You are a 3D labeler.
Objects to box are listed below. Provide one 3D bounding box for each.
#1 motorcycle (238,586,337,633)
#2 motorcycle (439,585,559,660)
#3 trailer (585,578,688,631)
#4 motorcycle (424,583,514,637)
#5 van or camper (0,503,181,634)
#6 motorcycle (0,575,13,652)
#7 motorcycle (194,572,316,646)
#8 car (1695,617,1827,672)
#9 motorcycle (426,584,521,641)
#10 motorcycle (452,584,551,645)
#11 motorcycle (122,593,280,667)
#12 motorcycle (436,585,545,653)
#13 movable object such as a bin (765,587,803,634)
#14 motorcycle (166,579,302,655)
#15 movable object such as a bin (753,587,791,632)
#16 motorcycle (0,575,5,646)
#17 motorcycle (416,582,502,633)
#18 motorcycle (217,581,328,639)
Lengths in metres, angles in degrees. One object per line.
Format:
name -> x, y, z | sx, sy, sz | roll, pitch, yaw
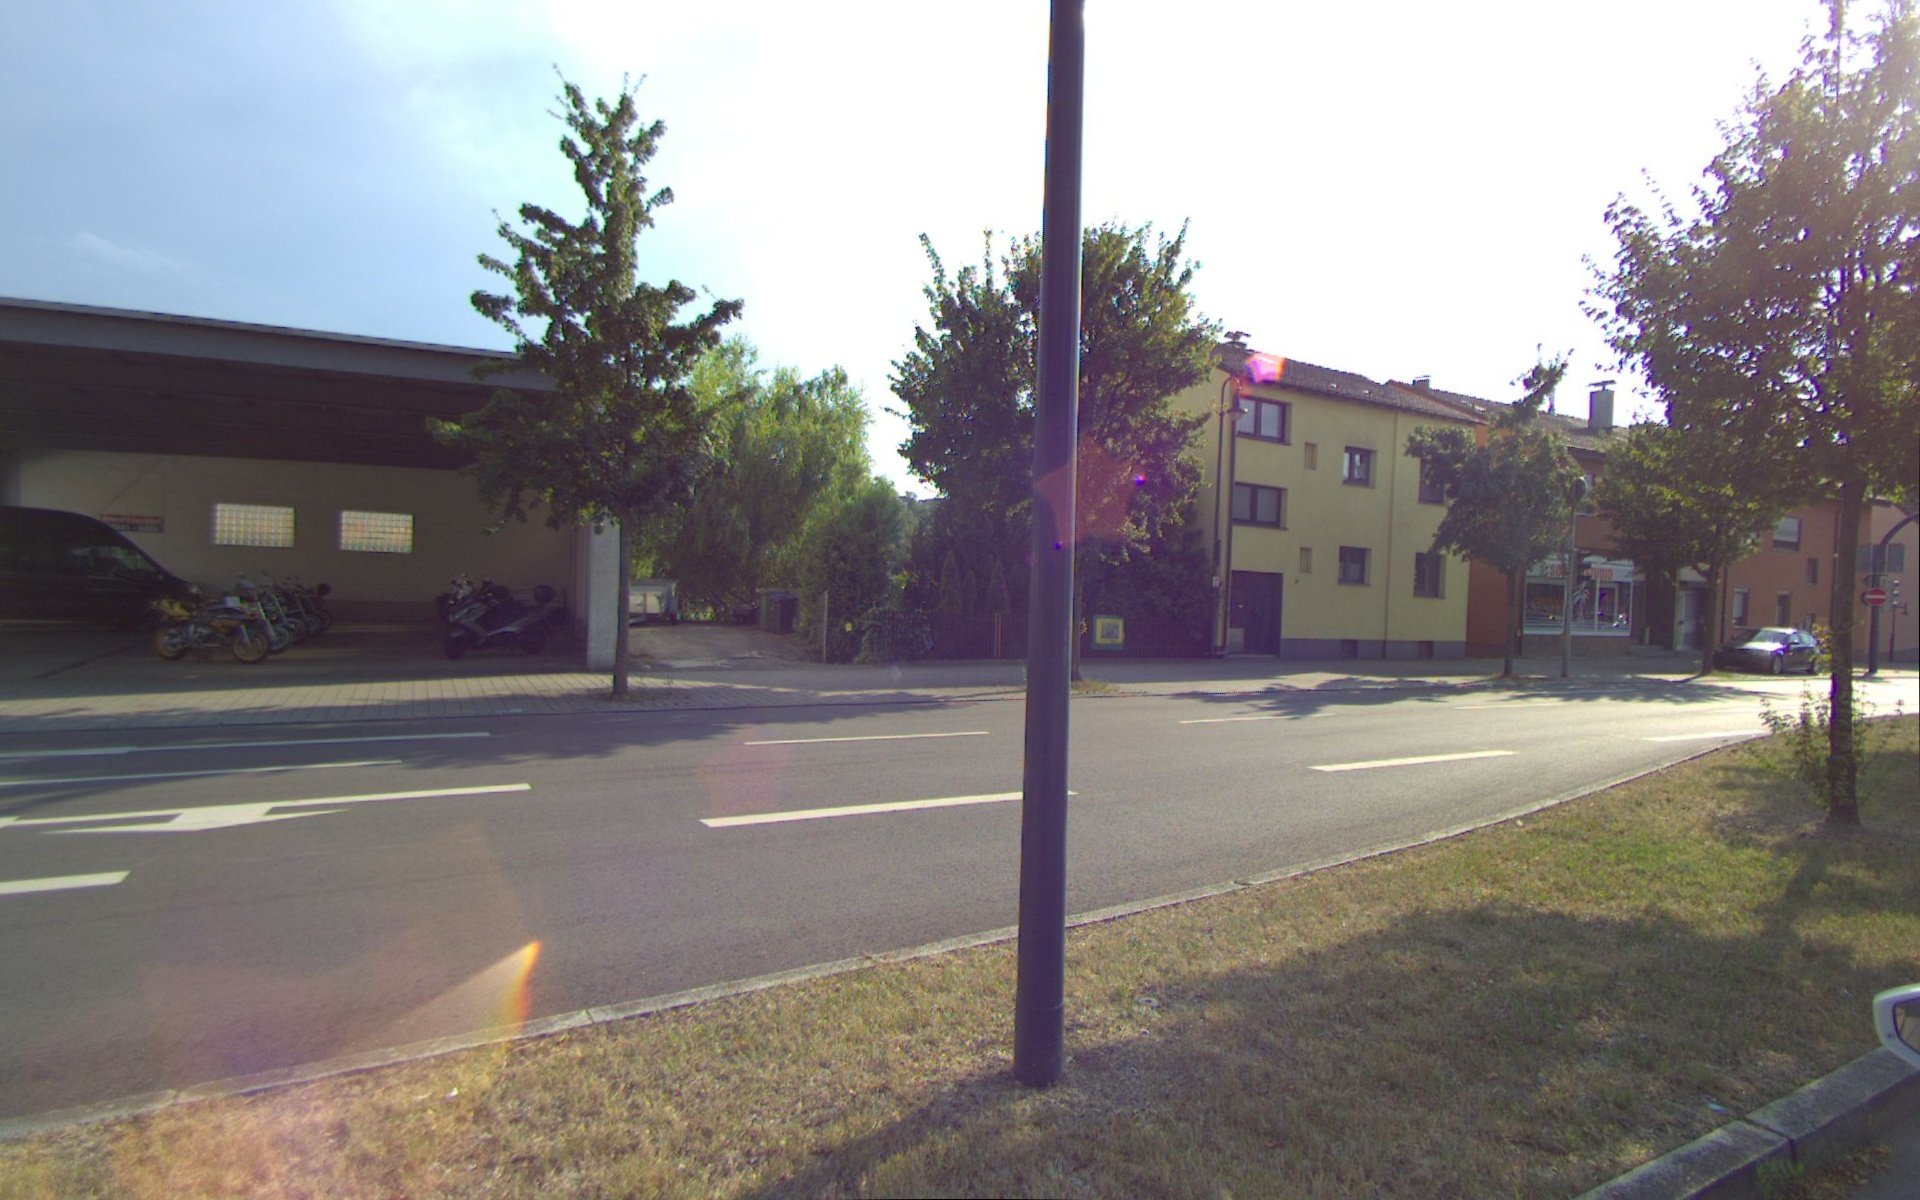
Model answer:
motorcycle -> -17.077, 0.234, 25.518 | 2.111, 1.138, 0.563 | 1, 0, 0
motorcycle -> -8.636, 0.416, 18.912 | 0.553, 1.325, 2.112 | 1, 0, 30
trailer -> -8.124, 0.065, 25.518 | 1.692, 1.199, 3.594 | 1, 1, -5
motorcycle -> -12.577, 0.269, 25.794 | 0.553, 1.325, 2.086 | 1, 0, 30
van or camper -> -20.464, -0.660, 21.993 | 1.963, 2.716, 5.033 | 1, 0, 26
motorcycle -> -17.249, 0.217, 16.762 | 0.637, 1.329, 2.007 | 1, 0, 23
motorcycle -> -14.718, 0.187, 21.000 | 2.111, 1.468, 0.594 | 1, 0, 0
car -> 25.973, 1.439, 32.575 | 3.949, 1.573, 1.836 | 1, 2, -27
motorcycle -> -11.810, 0.309, 24.451 | 0.573, 1.325, 2.086 | 1, 0, 30
motorcycle -> -10.487, 0.336, 23.039 | 0.612, 1.325, 2.086 | 1, 0, 30
motorcycle -> -12.517, 0.487, 16.590 | 2.111, 1.139, 0.631 | 1, 0, 0
motorcycle -> -9.675, 0.392, 20.773 | 0.553, 1.325, 2.086 | 1, 0, 30
movable object such as a bin -> -4.349, 0.266, 24.811 | 0.688, 1.101, 0.727 | 1, 3, -30
motorcycle -> -13.554, 0.321, 18.768 | 2.111, 1.347, 0.563 | 1, 0, 0
movable object such as a bin -> -4.790, 0.237, 25.583 | 0.712, 1.101, 0.727 | 1, 3, -30
motorcycle -> -18.644, 0.183, 18.090 | 0.637, 1.329, 2.007 | 1, 0, 23
motorcycle -> -13.519, 0.204, 27.161 | 0.553, 1.325, 2.086 | 1, 0, 30
motorcycle -> -15.840, 0.222, 23.170 | 2.111, 1.275, 0.647 | 1, 0, 0
